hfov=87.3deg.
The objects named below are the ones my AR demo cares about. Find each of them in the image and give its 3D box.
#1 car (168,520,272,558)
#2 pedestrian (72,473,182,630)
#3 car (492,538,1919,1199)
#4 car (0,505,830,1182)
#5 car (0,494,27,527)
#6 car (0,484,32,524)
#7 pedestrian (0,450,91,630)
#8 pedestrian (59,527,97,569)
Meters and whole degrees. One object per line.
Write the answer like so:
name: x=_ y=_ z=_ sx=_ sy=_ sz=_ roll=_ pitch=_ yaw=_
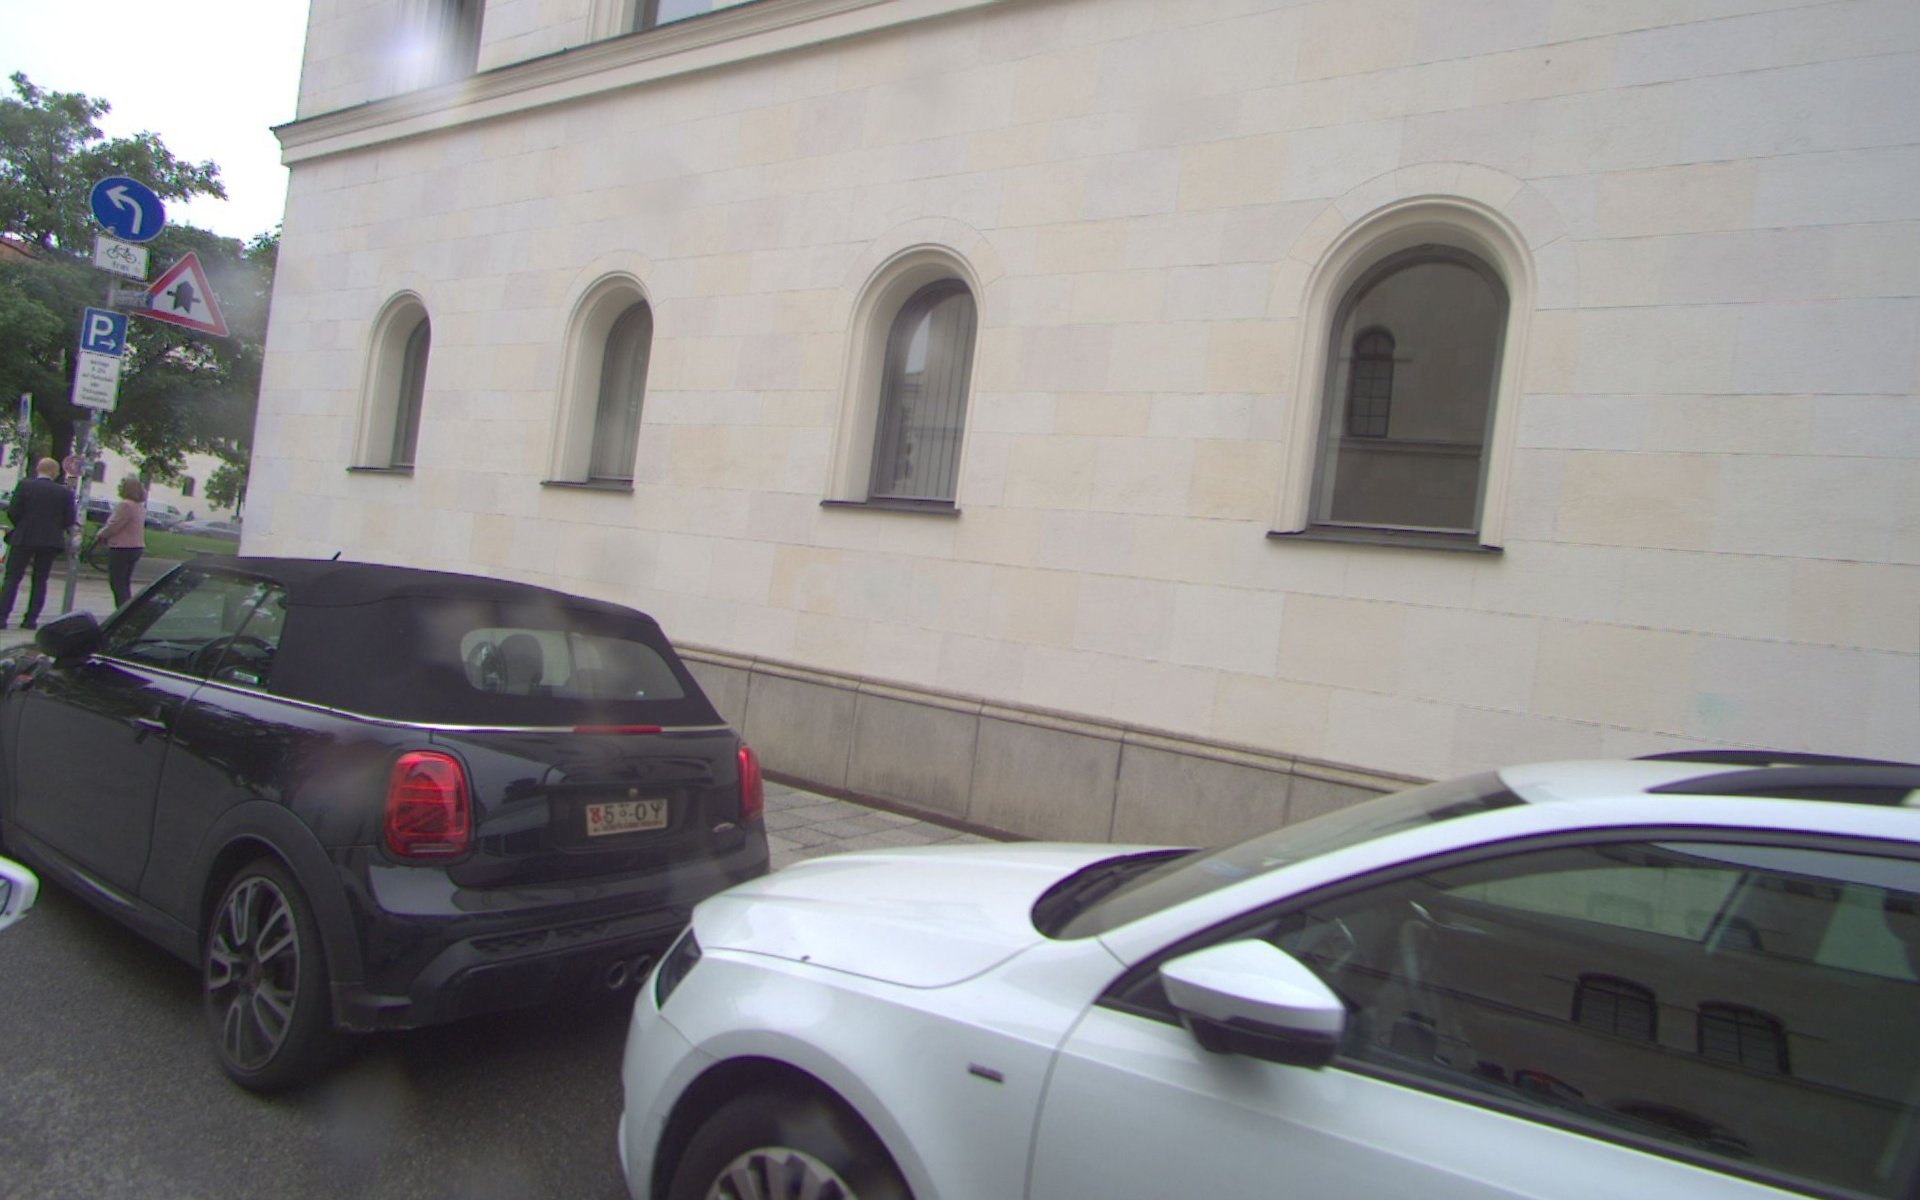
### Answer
car: x=-42.284 y=-3.446 z=57.596 sx=1.774 sy=1.435 sz=4.364 roll=8 pitch=-1 yaw=32
pedestrian: x=-9.695 y=-0.553 z=11.715 sx=0.536 sy=1.701 sz=0.622 roll=8 pitch=-1 yaw=24
car: x=1.312 y=0.916 z=1.854 sx=4.241 sy=1.494 sz=1.792 roll=8 pitch=0 yaw=31
car: x=-2.524 y=0.528 z=3.982 sx=3.709 sy=1.442 sz=1.543 roll=7 pitch=-1 yaw=31
car: x=-47.938 y=-4.600 z=48.202 sx=1.774 sy=1.435 sz=4.364 roll=8 pitch=-1 yaw=32
car: x=-55.358 y=-5.715 z=56.613 sx=1.964 sy=2.037 sz=4.001 roll=8 pitch=-1 yaw=24
pedestrian: x=-10.016 y=-0.640 z=10.909 sx=0.481 sy=1.830 sz=0.642 roll=8 pitch=0 yaw=36
pedestrian: x=-17.984 y=-1.052 z=20.507 sx=0.453 sy=0.771 sz=0.415 roll=8 pitch=-1 yaw=35
